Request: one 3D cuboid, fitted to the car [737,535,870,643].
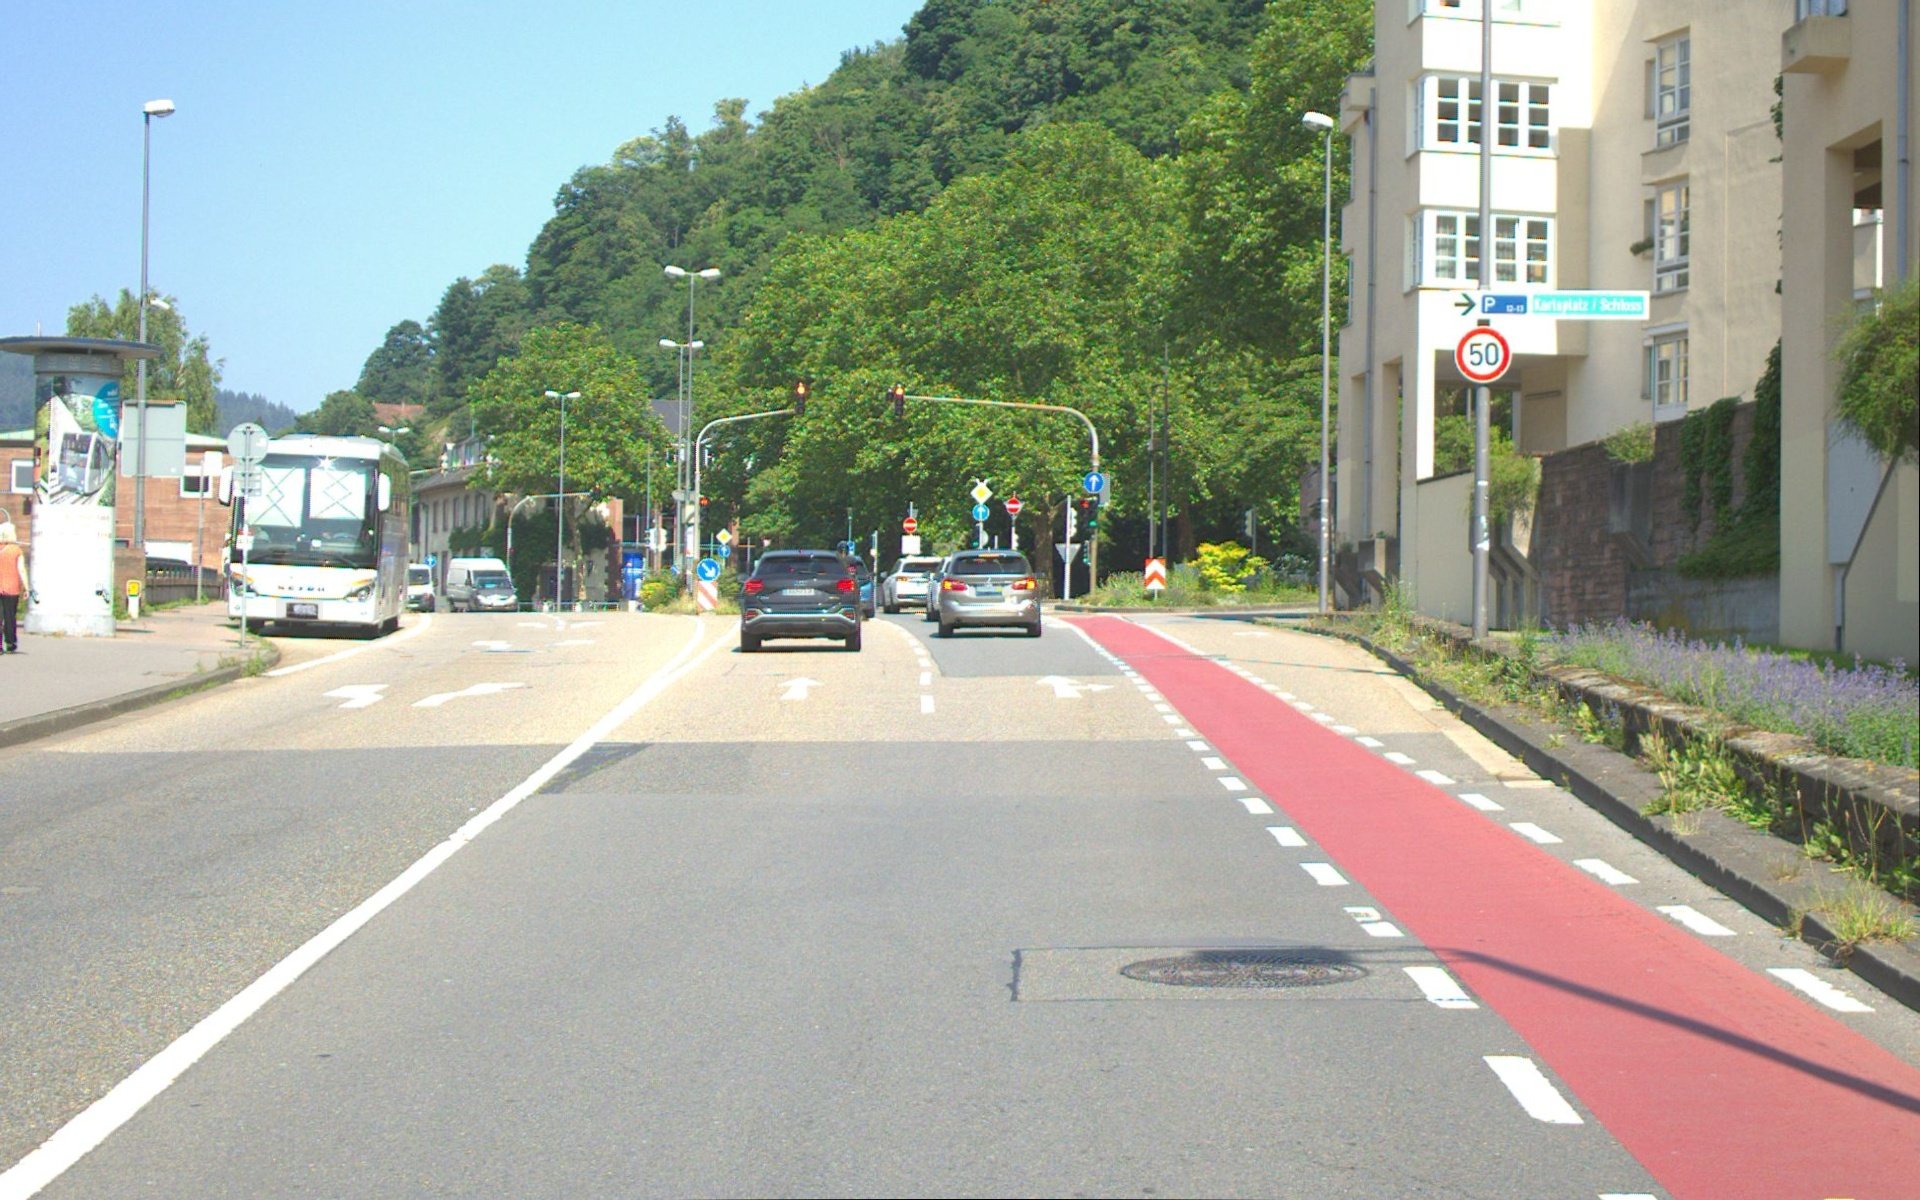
[{"bbox_3d":[-2.314,-0.164,51.783,1.869,1.508,4.151,2,0,-1],"label":"car"}]

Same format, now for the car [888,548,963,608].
[{"bbox_3d":[-0.944,-0.575,91.060,1.785,1.527,4.737,0,0,-3],"label":"car"}]

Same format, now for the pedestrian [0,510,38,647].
[{"bbox_3d":[-11.406,-0.261,41.001,0.702,1.615,0.817,1,0,-10],"label":"pedestrian"}]

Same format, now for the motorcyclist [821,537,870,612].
[{"bbox_3d":[-2.560,-0.577,76.966,1.075,1.678,1.156,0,1,-2],"label":"motorcyclist"}]

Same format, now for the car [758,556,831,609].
[{"bbox_3d":[-4.401,-0.484,91.048,1.866,1.354,4.001,0,1,-4],"label":"car"}]

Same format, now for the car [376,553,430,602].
[{"bbox_3d":[-24.111,-1.006,148.961,2.214,2.071,5.045,0,1,-8],"label":"car"}]

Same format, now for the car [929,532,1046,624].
[{"bbox_3d":[0.455,-0.388,61.062,1.888,1.516,4.306,2,0,-1],"label":"car"}]

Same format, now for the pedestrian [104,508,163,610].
[{"bbox_3d":[-14.763,-0.728,61.437,0.892,1.790,1.041,1,0,-7],"label":"pedestrian"}]

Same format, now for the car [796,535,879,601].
[{"bbox_3d":[-2.992,-0.778,83.440,1.866,1.557,4.001,0,1,-4],"label":"car"}]

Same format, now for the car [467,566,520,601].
[{"bbox_3d":[-19.739,-0.700,145.477,1.993,1.427,4.168,0,1,-5],"label":"car"}]

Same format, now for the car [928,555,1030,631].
[{"bbox_3d":[0.375,-0.163,73.430,1.993,1.528,4.859,1,0,-2],"label":"car"}]

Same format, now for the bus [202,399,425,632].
[{"bbox_3d":[-12.119,-1.544,65.617,2.956,3.787,13.247,4,0,-7],"label":"bus"}]
